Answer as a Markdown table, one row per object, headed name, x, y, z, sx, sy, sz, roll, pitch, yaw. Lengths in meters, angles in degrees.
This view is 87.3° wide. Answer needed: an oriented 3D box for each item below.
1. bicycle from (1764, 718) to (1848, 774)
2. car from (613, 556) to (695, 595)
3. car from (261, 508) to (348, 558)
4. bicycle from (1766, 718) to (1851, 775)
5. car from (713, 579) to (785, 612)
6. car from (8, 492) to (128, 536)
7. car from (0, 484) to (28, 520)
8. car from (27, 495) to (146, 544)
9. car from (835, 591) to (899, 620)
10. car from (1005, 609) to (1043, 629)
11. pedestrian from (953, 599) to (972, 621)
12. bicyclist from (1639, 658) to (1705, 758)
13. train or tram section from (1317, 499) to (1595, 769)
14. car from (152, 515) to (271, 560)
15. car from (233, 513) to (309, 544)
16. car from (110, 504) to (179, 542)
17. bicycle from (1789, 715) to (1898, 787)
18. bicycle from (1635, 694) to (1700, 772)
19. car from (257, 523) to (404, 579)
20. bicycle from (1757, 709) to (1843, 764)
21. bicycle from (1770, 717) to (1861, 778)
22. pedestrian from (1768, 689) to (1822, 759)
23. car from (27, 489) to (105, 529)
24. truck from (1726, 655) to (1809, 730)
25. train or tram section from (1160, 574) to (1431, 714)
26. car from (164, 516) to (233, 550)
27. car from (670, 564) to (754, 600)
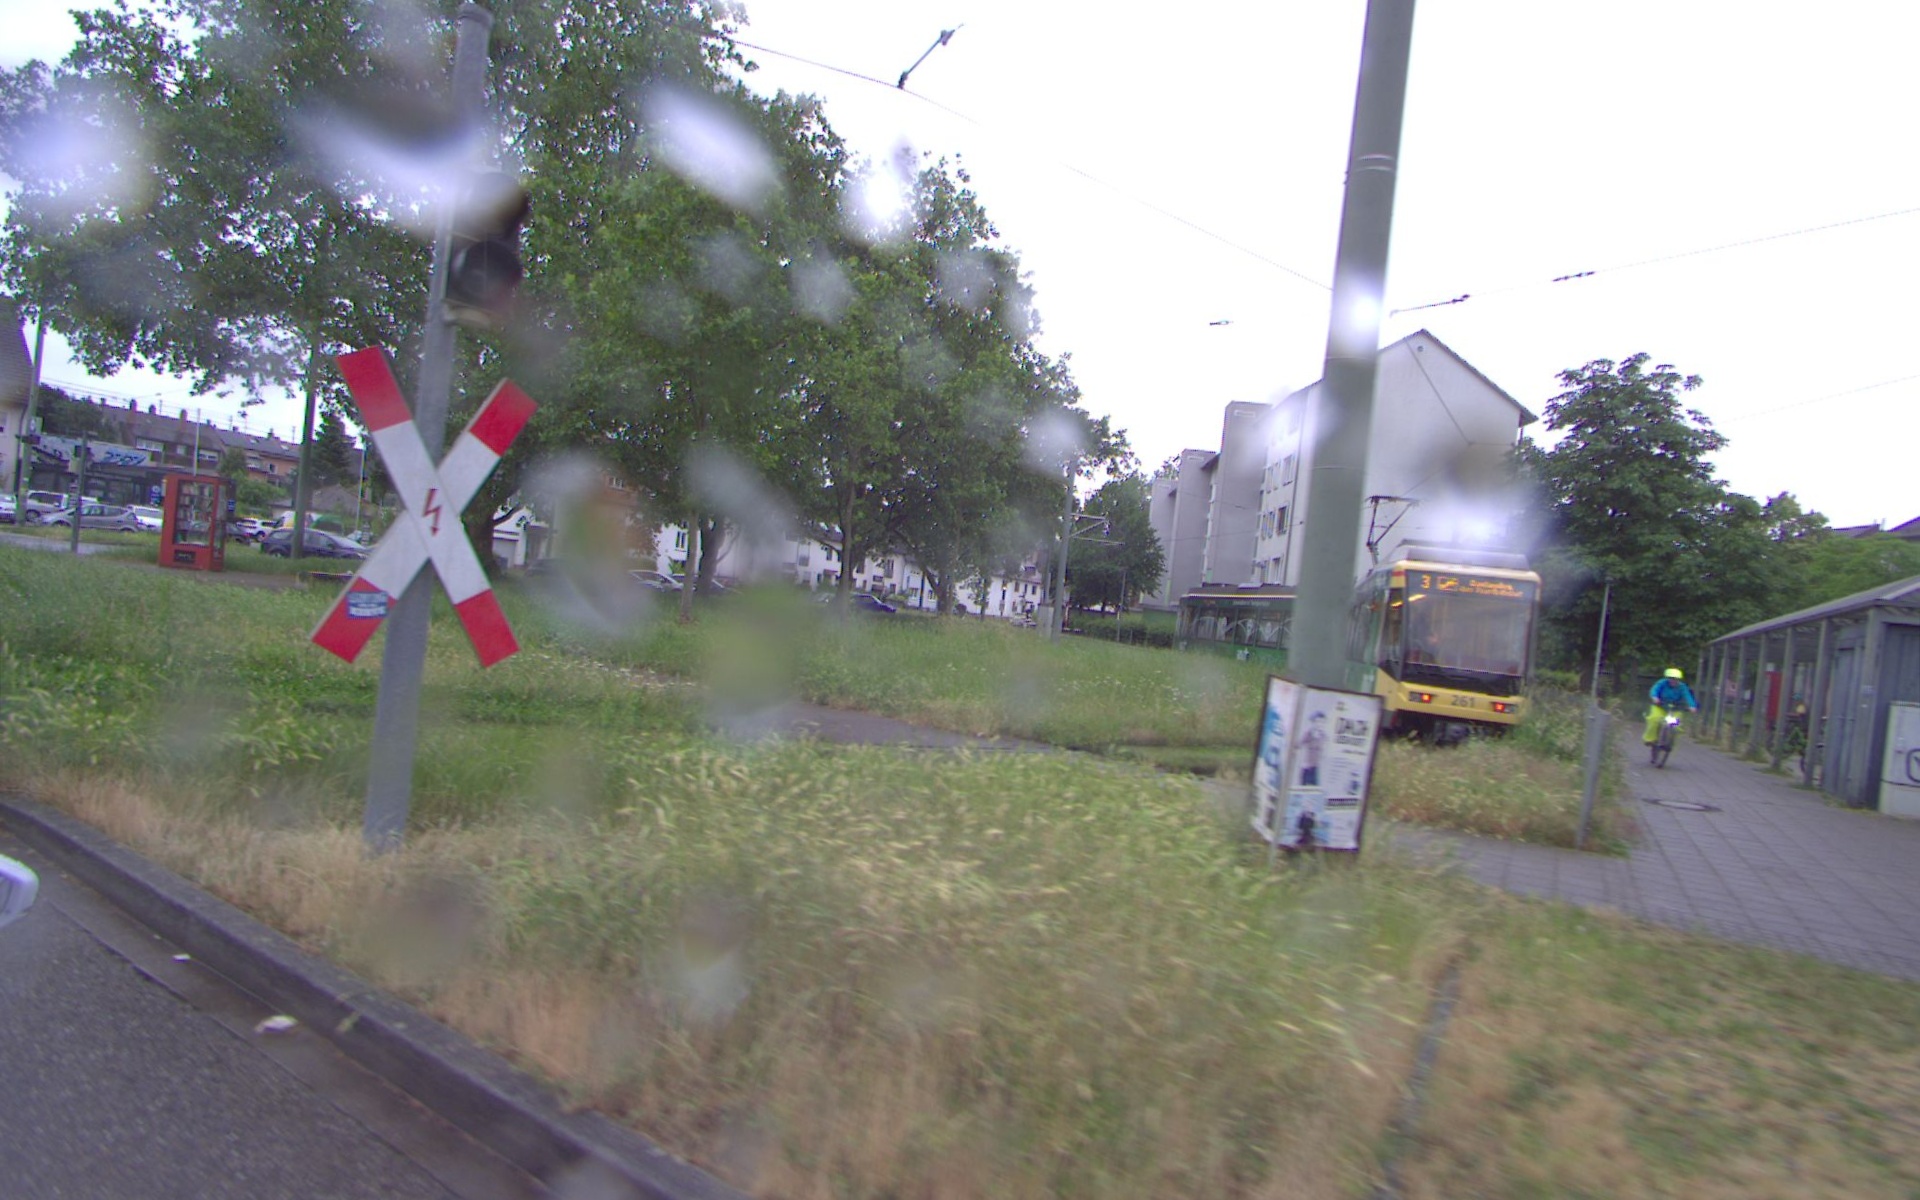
| name | x | y | z | sx | sy | sz | roll | pitch | yaw |
| --- | --- | --- | --- | --- | --- | --- | --- | --- | --- |
| bicycle | 17.568 | 3.029 | 20.920 | 1.218 | 0.958 | 0.377 | 6 | -1 | 34 |
| car | -14.903 | -1.159 | 49.168 | 3.453 | 1.524 | 1.754 | 5 | -1 | -6 |
| car | -40.201 | -4.104 | 61.664 | 5.061 | 2.434 | 2.150 | 6 | -2 | 29 |
| bicycle | 17.286 | 2.976 | 20.515 | 1.218 | 0.958 | 0.377 | 6 | -1 | 34 |
| car | -11.749 | -0.236 | 56.200 | 3.530 | 1.498 | 1.638 | 5 | 0 | 3 |
| car | -47.771 | -4.607 | 53.993 | 1.731 | 1.708 | 4.437 | 5 | -1 | 31 |
| car | -45.932 | -4.761 | 48.016 | 4.005 | 1.521 | 1.825 | 6 | -2 | 44 |
| car | -39.741 | -3.650 | 45.840 | 1.694 | 1.521 | 3.639 | 6 | -2 | 31 |
| car | -6.141 | 0.337 | 66.735 | 3.926 | 1.502 | 1.998 | 6 | 1 | -2 |
| car | 6.028 | 1.805 | 94.557 | 1.927 | 1.571 | 3.996 | 4 | -2 | 28 |
| pedestrian | 0.235 | 0.842 | 83.092 | 1.029 | 1.735 | 1.079 | 6 | 0 | 25 |
| bicyclist | 11.884 | 1.800 | 16.798 | 0.714 | 1.535 | 0.696 | 8 | 1 | 37 |
| train or tram section | 9.727 | 0.859 | 21.823 | 2.664 | 3.632 | 14.746 | 8 | -1 | 17 |
| car | -37.233 | -3.081 | 50.170 | 1.692 | 1.353 | 4.392 | 7 | -4 | 25 |
| car | -48.521 | -5.027 | 70.960 | 1.759 | 1.600 | 4.449 | 5 | -1 | 8 |
| car | -43.142 | -4.076 | 53.199 | 3.558 | 1.591 | 1.720 | 6 | -2 | 33 |
| bicycle | 14.427 | 2.456 | 16.462 | 1.218 | 0.967 | 0.377 | 6 | -1 | 34 |
| bicycle | 11.860 | 2.206 | 16.845 | 0.717 | 1.144 | 1.748 | 8 | 0 | 37 |
| car | -22.873 | -1.750 | 36.670 | 4.099 | 1.495 | 1.804 | 6 | 0 | -1 |
| bicycle | 18.116 | 2.940 | 21.718 | 1.283 | 0.958 | 0.418 | 7 | -1 | 15 |
| bicycle | 16.425 | 2.815 | 19.338 | 1.218 | 0.958 | 0.377 | 6 | -1 | 34 |
| pedestrian | 20.506 | 3.028 | 24.715 | 0.776 | 1.591 | 0.635 | 7 | -1 | 30 |
| car | -44.834 | -4.541 | 50.430 | 3.807 | 1.599 | 1.803 | 6 | 1 | 31 |
| truck | 45.149 | 5.224 | 56.161 | 3.157 | 3.513 | 7.121 | 6 | -2 | 40 |
| train or tram section | 10.901 | 1.244 | 35.608 | 2.668 | 3.632 | 14.722 | 8 | -1 | -7 |
| car | -41.589 | -3.650 | 54.912 | 3.780 | 1.412 | 1.720 | 6 | -2 | 33 |
| car | -12.826 | -0.904 | 52.197 | 3.928 | 1.519 | 1.823 | 4 | -1 | -7 |
